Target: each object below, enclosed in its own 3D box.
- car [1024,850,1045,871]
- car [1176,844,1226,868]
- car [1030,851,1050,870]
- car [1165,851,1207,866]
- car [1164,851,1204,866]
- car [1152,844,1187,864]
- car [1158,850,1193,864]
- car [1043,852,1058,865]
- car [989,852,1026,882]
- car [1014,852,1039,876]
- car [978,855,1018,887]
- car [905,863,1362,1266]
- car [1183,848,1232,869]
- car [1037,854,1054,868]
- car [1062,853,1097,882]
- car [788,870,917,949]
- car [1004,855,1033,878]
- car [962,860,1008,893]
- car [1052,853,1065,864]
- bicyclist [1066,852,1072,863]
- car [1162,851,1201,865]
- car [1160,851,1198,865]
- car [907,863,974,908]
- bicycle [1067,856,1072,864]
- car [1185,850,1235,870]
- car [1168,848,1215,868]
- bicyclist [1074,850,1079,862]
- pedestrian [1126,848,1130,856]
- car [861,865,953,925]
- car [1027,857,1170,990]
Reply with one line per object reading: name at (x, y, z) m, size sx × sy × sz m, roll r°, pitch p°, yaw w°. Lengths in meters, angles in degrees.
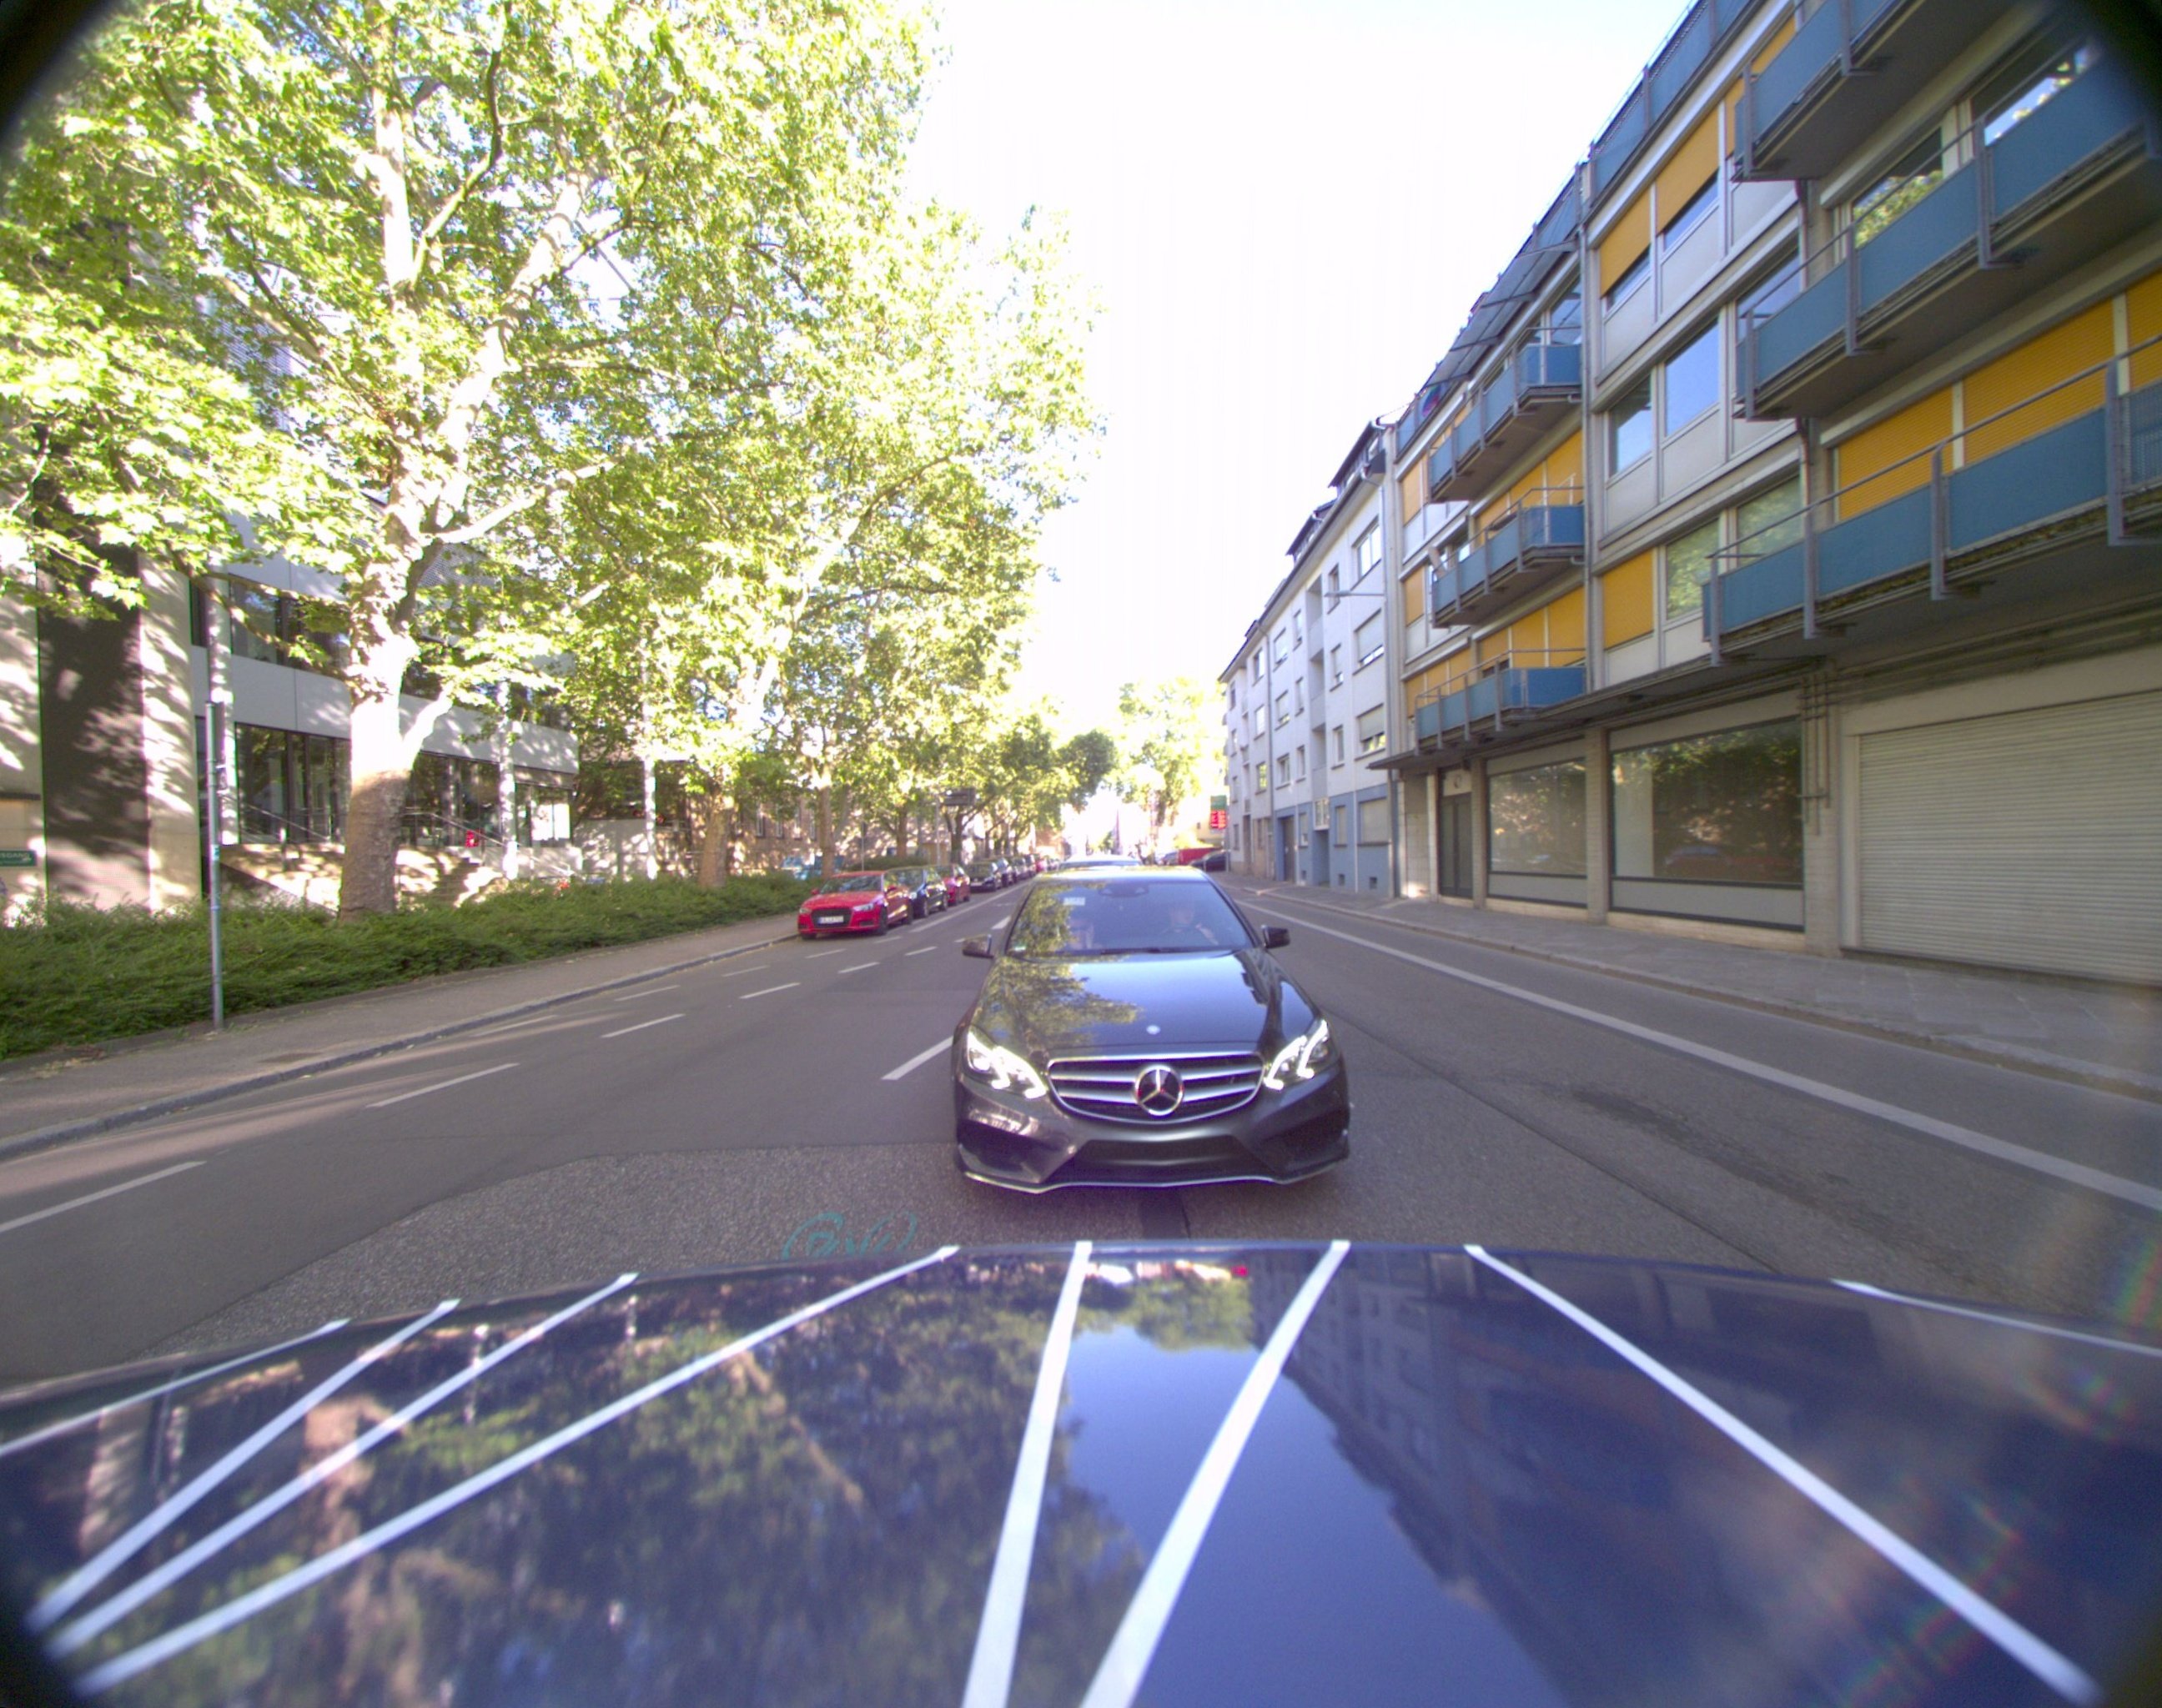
car at (-4.257, 0.589, 70.220) m, size 1.646 × 1.839 × 3.836 m, roll -2°, pitch 0°, yaw 0°
car at (10.070, 0.164, 63.974) m, size 3.905 × 1.895 × 1.749 m, roll -2°, pitch 1°, yaw 2°
car at (-4.103, 0.636, 76.011) m, size 1.686 × 1.749 × 3.836 m, roll -2°, pitch 0°, yaw 0°
car at (10.367, 0.450, 74.960) m, size 3.905 × 1.366 × 1.594 m, roll -2°, pitch 1°, yaw 2°
car at (10.399, 0.427, 76.982) m, size 3.905 × 1.366 × 1.594 m, roll -2°, pitch 1°, yaw 2°
car at (10.395, 0.023, 89.303) m, size 3.905 × 2.164 × 1.725 m, roll -2°, pitch 1°, yaw 2°
car at (10.535, 0.331, 84.810) m, size 3.782 × 1.432 × 1.539 m, roll -2°, pitch 1°, yaw 2°
car at (-3.797, 0.598, 95.679) m, size 1.686 × 1.546 × 3.836 m, roll -2°, pitch 0°, yaw 0°
car at (-4.598, 0.772, 48.182) m, size 1.819 × 1.758 × 4.431 m, roll -2°, pitch 0°, yaw 0°
car at (-4.221, 0.753, 59.362) m, size 1.663 × 1.704 × 3.836 m, roll -2°, pitch 0°, yaw 0°
car at (-4.540, 0.907, 42.056) m, size 1.686 × 1.610 × 3.836 m, roll -2°, pitch 0°, yaw 0°
car at (0.212, 0.895, 5.276) m, size 1.828 × 1.495 × 4.293 m, roll -2°, pitch 1°, yaw 0°
car at (10.124, 0.355, 61.129) m, size 3.668 × 1.501 × 1.602 m, roll -2°, pitch 1°, yaw 2°
car at (-4.058, 0.745, 87.056) m, size 1.639 × 1.493 × 3.752 m, roll -2°, pitch 0°, yaw 0°
car at (-0.033, 0.755, 43.848) m, size 1.693 × 1.432 × 3.902 m, roll -3°, pitch 1°, yaw 3°
car at (-5.133, 1.189, 17.653) m, size 1.724 × 1.412 × 4.030 m, roll -4°, pitch 0°, yaw -1°
car at (-4.429, 0.875, 54.506) m, size 1.686 × 1.552 × 3.868 m, roll -2°, pitch 0°, yaw 0°
car at (-4.668, 1.047, 37.397) m, size 1.686 × 1.443 × 4.000 m, roll -2°, pitch 0°, yaw 0°
car at (-3.135, 0.650, 106.821) m, size 1.686 × 1.475 × 3.836 m, roll -2°, pitch 0°, yaw 0°
bicyclist at (-1.750, 0.545, 109.332) m, size 0.756 × 1.512 × 0.768 m, roll -2°, pitch 1°, yaw -1°
car at (10.514, 0.426, 79.736) m, size 3.905 × 1.325 × 1.525 m, roll -2°, pitch 1°, yaw 2°
car at (10.524, 0.399, 82.125) m, size 3.905 × 1.325 × 1.525 m, roll -2°, pitch 1°, yaw 2°
car at (-5.011, 1.093, 27.597) m, size 1.666 × 1.426 × 3.781 m, roll -2°, pitch 0°, yaw 0°
bicycle at (-1.703, 0.896, 109.390) m, size 0.667 × 1.093 × 1.814 m, roll -2°, pitch 1°, yaw 0°
car at (9.955, 0.456, 58.724) m, size 3.598 × 1.401 × 1.534 m, roll -2°, pitch 0°, yaw 2°
car at (9.711, 0.329, 66.769) m, size 3.905 × 1.577 × 1.603 m, roll -2°, pitch 1°, yaw 2°
bicyclist at (-0.684, 0.310, 112.794) m, size 0.756 × 1.714 × 0.768 m, roll -2°, pitch 1°, yaw -1°
pedestrian at (12.923, -0.472, 209.894) m, size 0.884 × 2.108 × 0.821 m, roll -2°, pitch 1°, yaw 4°
car at (-5.014, 1.128, 22.412) m, size 1.686 × 1.458 × 4.000 m, roll -3°, pitch 0°, yaw 0°
car at (0.204, 0.880, 11.652) m, size 1.732 × 1.538 × 4.293 m, roll -2°, pitch 1°, yaw 0°
